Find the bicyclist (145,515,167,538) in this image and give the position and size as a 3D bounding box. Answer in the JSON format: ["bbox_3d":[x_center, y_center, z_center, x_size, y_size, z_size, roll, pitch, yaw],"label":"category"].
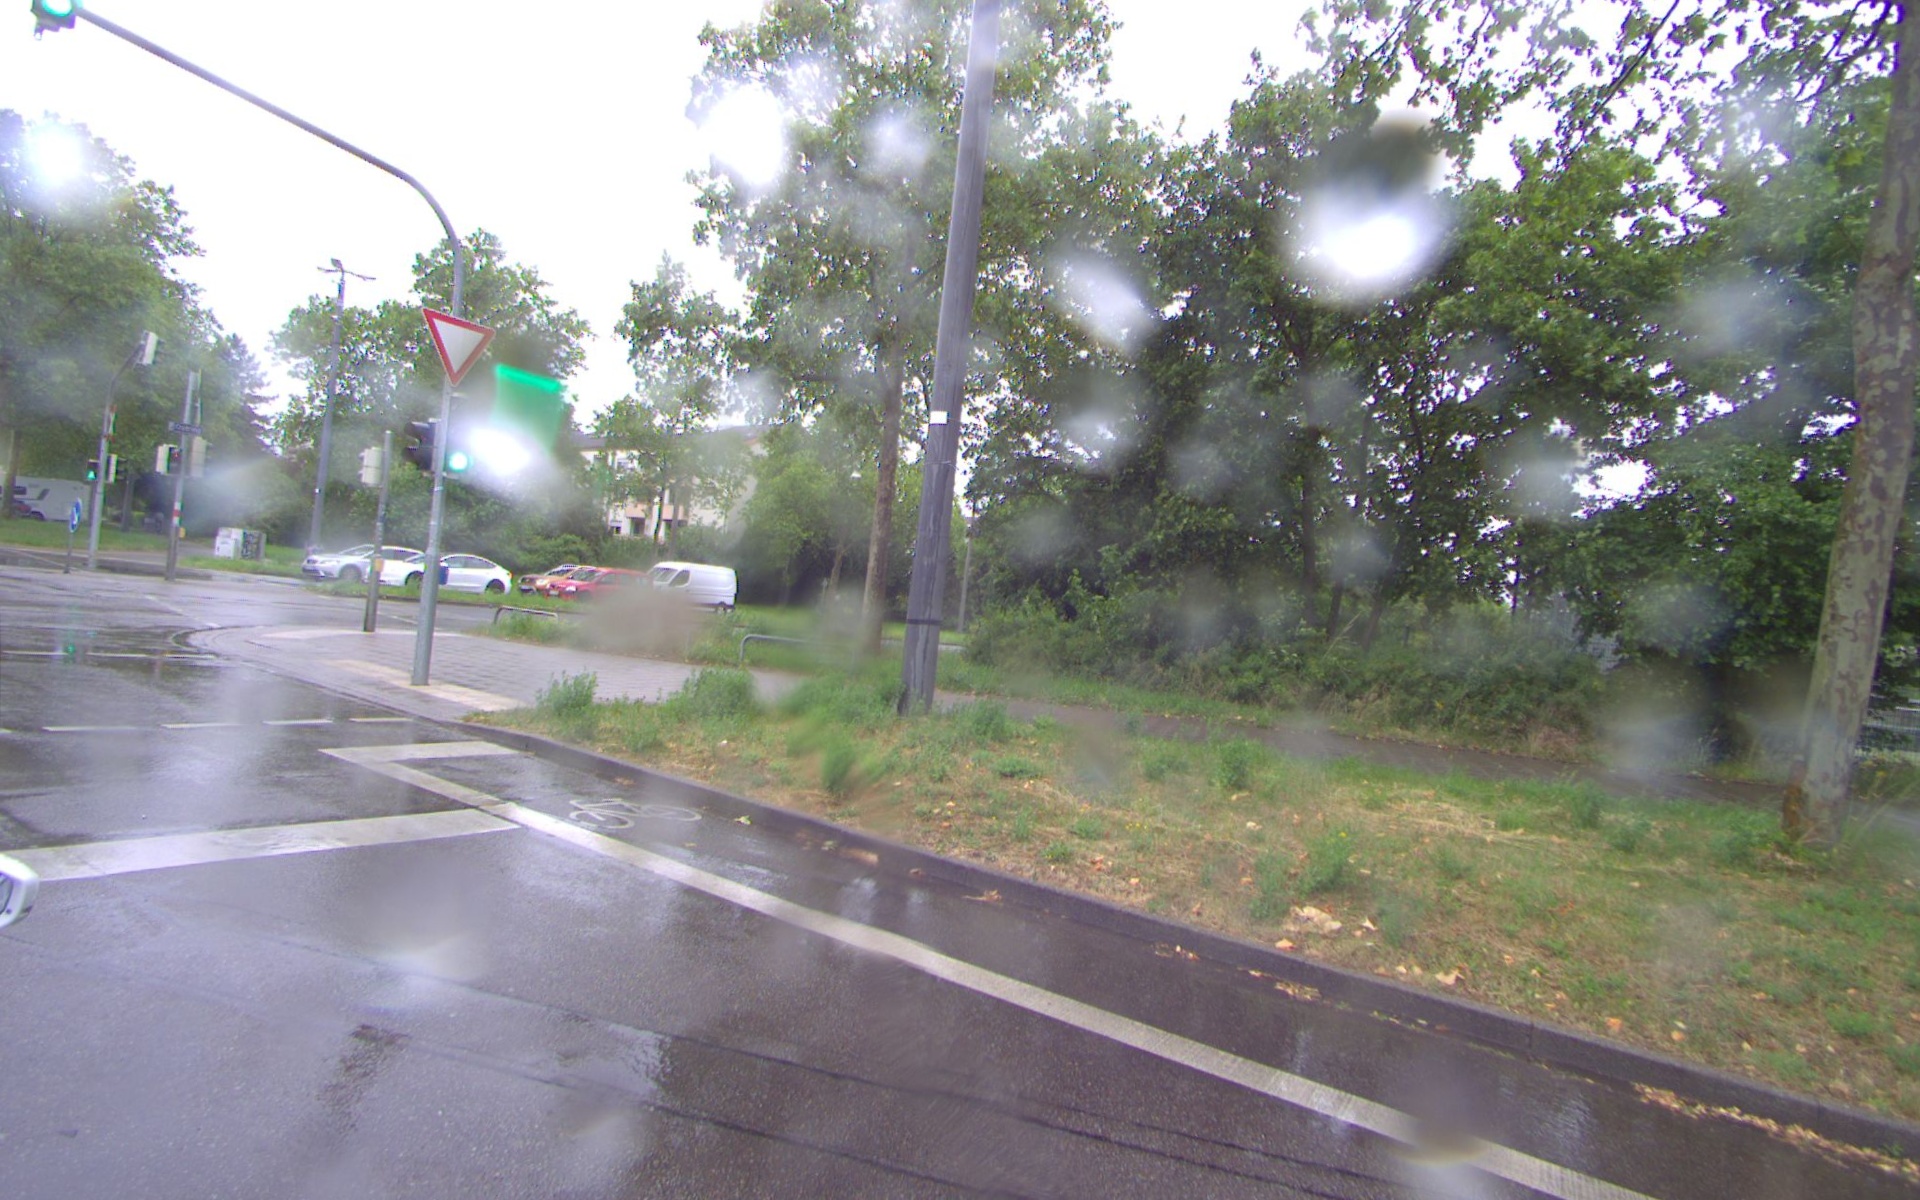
[{"bbox_3d":[-57.677,-5.274,72.163,0.942,1.441,0.862,6,-1,36],"label":"bicyclist"}]

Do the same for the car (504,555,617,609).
[{"bbox_3d":[-16.389,-0.693,41.498,1.759,1.625,4.069,7,-2,26],"label":"car"}]

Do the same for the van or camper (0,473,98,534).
[{"bbox_3d":[-63.184,-6.664,67.636,7.388,3.215,3.231,9,-2,-36],"label":"van or camper"}]

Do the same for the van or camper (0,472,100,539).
[{"bbox_3d":[-56.941,-5.913,60.725,7.296,3.215,3.226,9,-2,-40],"label":"van or camper"}]

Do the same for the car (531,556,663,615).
[{"bbox_3d":[-13.831,-0.509,38.625,1.760,1.625,4.615,6,-2,29],"label":"car"}]

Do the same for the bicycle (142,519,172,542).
[{"bbox_3d":[-57.510,-4.977,72.017,2.662,1.441,0.862,6,-2,36],"label":"bicycle"}]

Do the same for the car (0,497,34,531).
[{"bbox_3d":[-55.805,-5.147,57.137,4.424,1.736,1.980,9,-2,-37],"label":"car"}]

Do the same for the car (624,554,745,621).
[{"bbox_3d":[-12.945,-0.539,47.631,1.966,2.419,5.619,6,-2,29],"label":"car"}]

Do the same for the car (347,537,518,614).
[{"bbox_3d":[-17.148,-0.743,32.979,1.900,1.849,4.608,7,-2,26],"label":"car"}]

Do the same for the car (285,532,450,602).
[{"bbox_3d":[-20.127,-1.061,34.381,1.900,1.710,4.407,7,-2,26],"label":"car"}]
